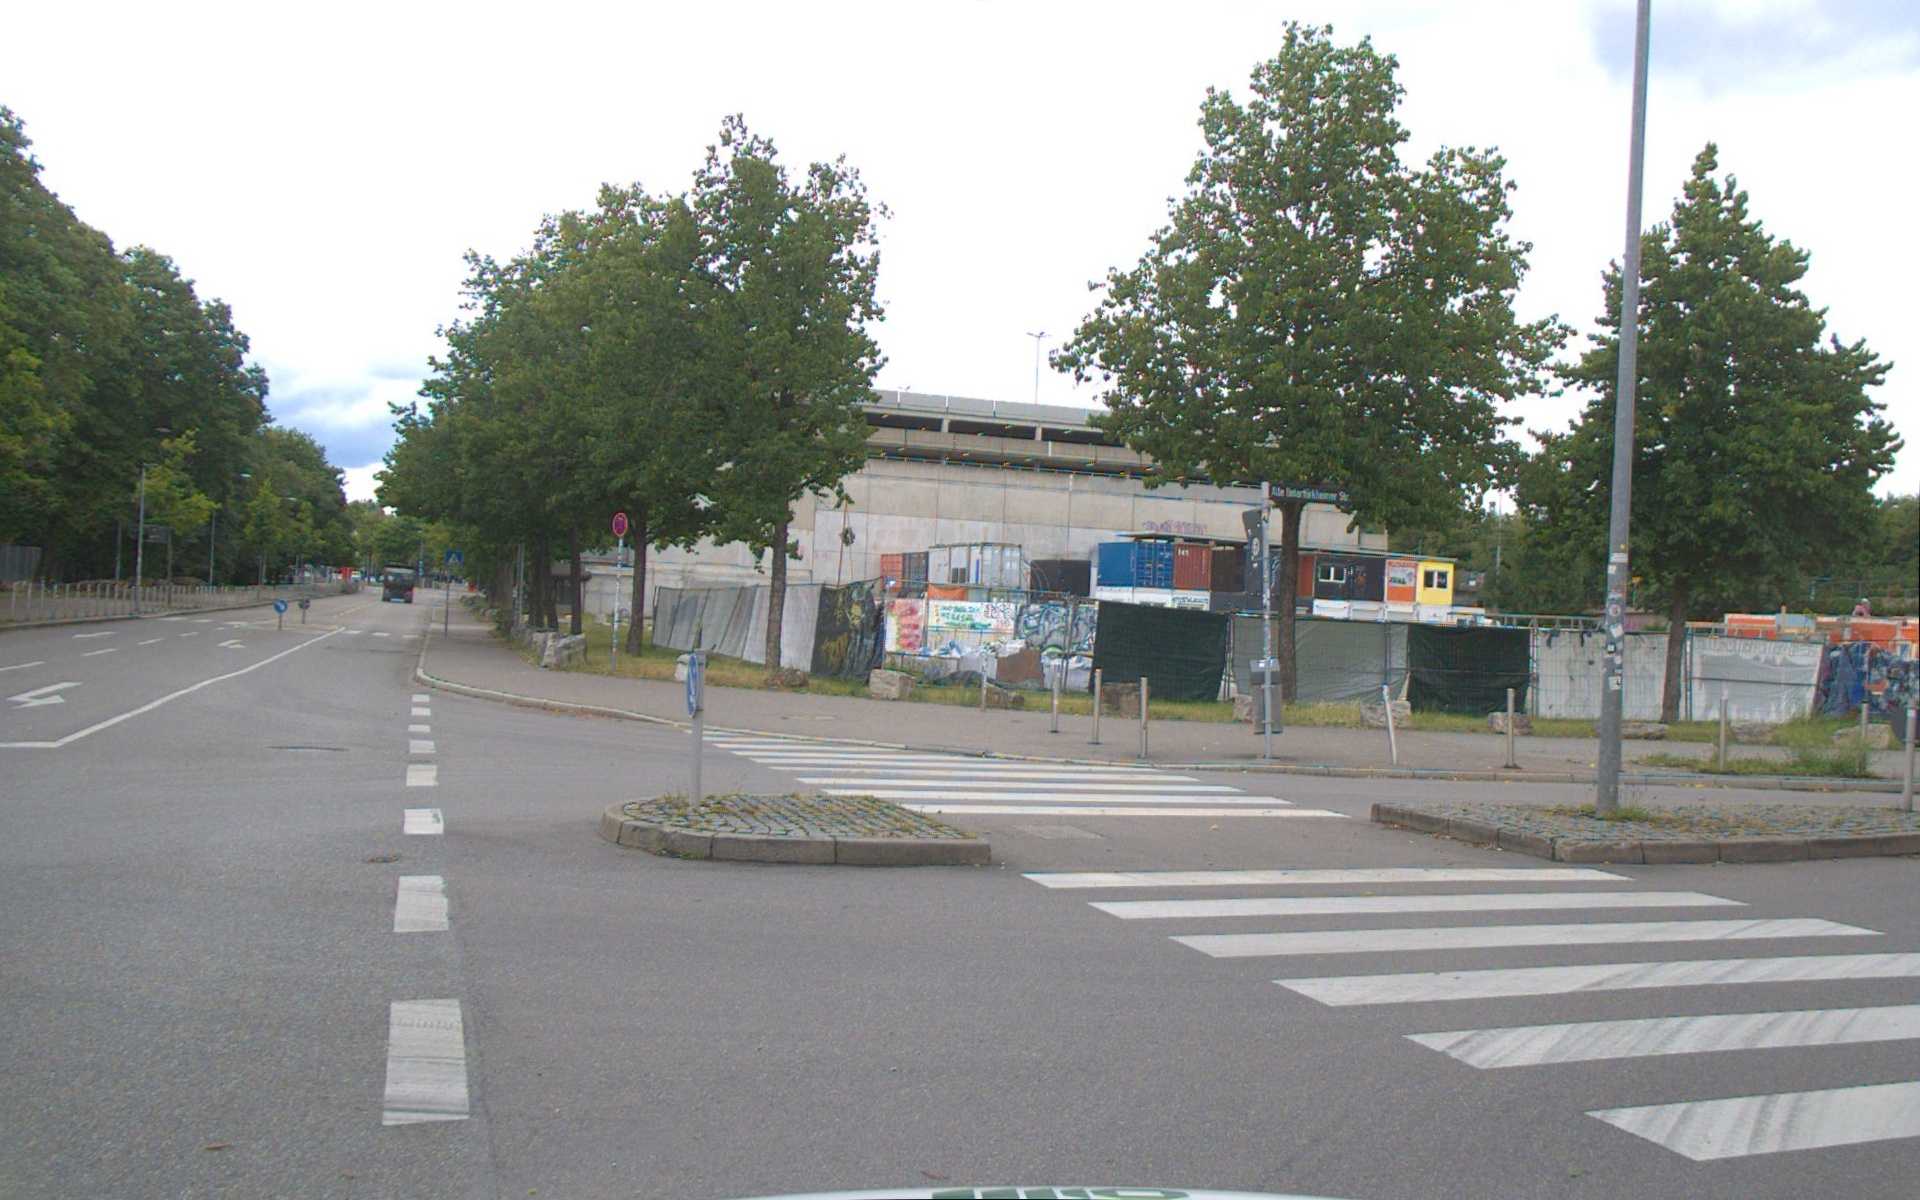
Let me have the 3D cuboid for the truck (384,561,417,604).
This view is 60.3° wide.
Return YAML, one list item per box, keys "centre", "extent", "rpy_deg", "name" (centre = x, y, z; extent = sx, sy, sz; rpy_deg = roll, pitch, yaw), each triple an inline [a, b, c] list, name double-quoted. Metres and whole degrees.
- centre: [-49.079, -1.457, 145.300]
  extent: [2.632, 3.621, 7.882]
  rpy_deg: [0, 0, -18]
  name: "truck"
